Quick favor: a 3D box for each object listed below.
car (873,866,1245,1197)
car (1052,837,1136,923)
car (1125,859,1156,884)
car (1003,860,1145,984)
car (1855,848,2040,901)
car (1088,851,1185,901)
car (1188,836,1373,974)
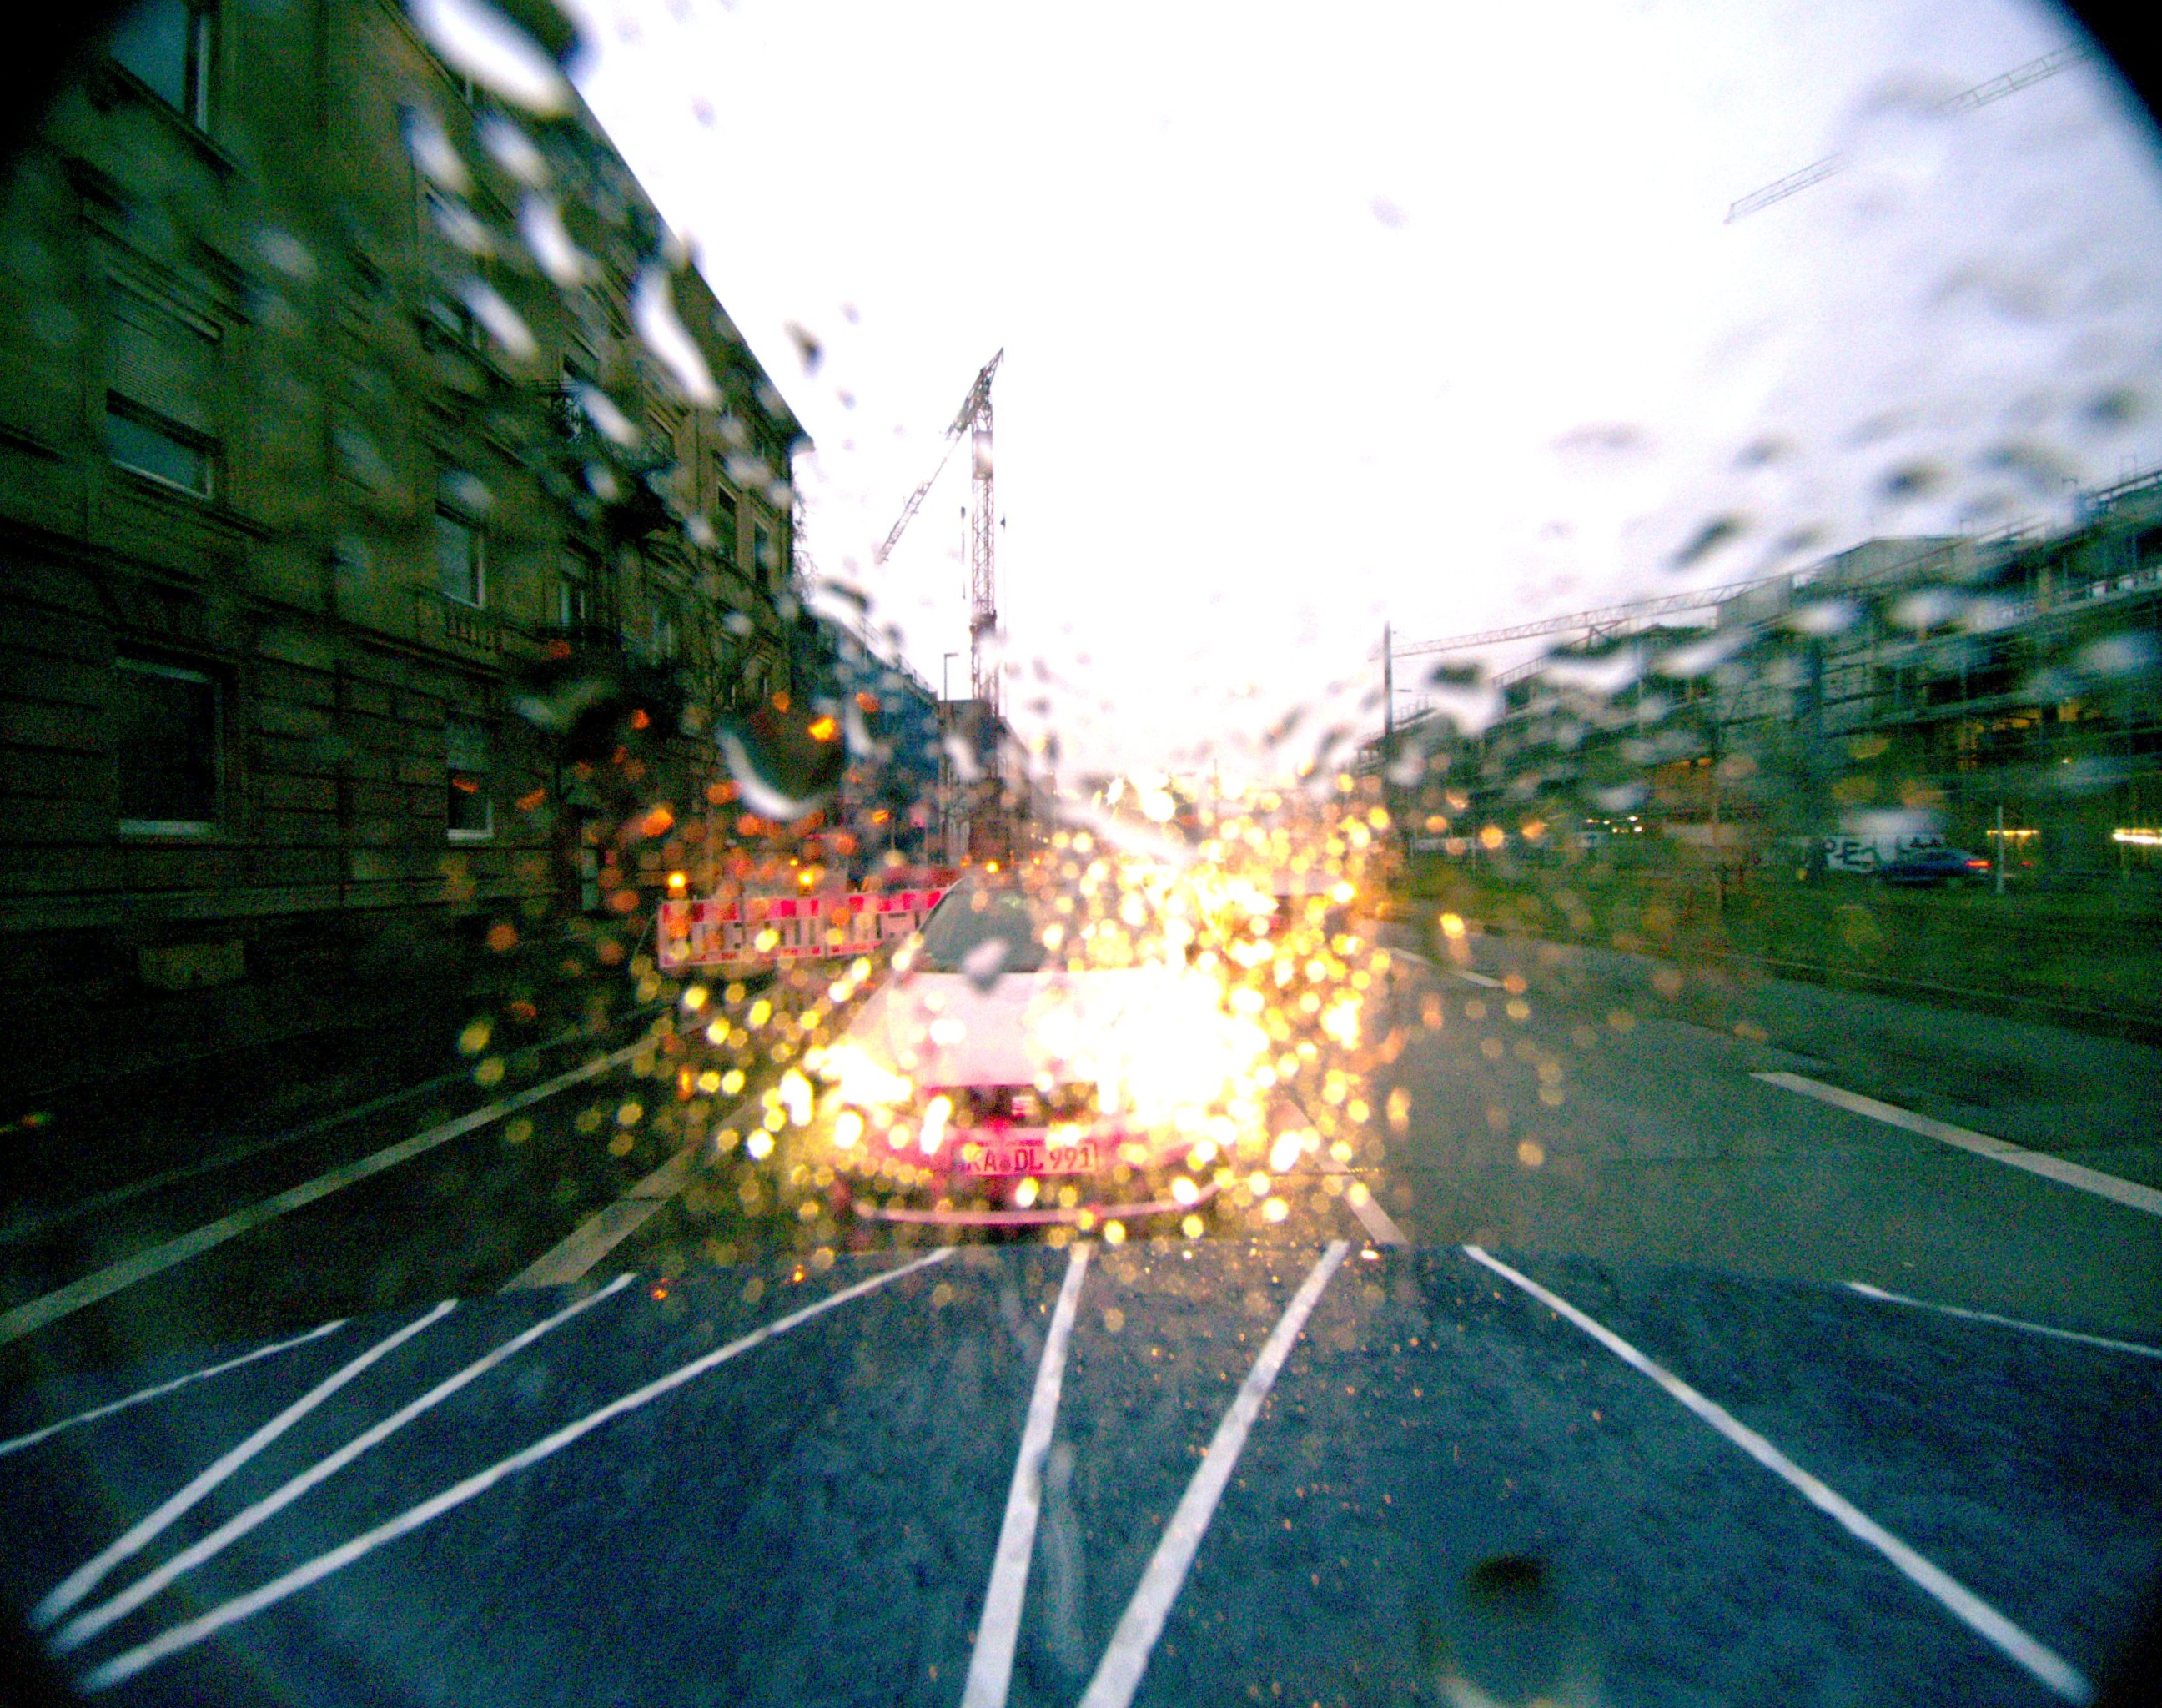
[{"bbox_3d":[-0.144,0.898,5.712,1.764,1.443,3.999,-2,1,-1],"label":"car"},{"bbox_3d":[0.259,0.567,19.365,1.858,1.886,3.999,-2,1,-1],"label":"car"},{"bbox_3d":[4.012,1.163,51.673,1.844,1.547,4.000,-2,1,2],"label":"car"},{"bbox_3d":[-0.131,0.890,11.769,1.764,1.443,3.999,-2,1,-1],"label":"car"},{"bbox_3d":[31.018,0.666,27.411,1.958,1.677,4.082,-2,1,-2],"label":"car"},{"bbox_3d":[1.977,0.748,28.426,1.847,1.644,4.316,-3,1,-22],"label":"car"},{"bbox_3d":[2.860,0.638,11.808,1.858,1.723,4.000,-2,1,1],"label":"car"}]
